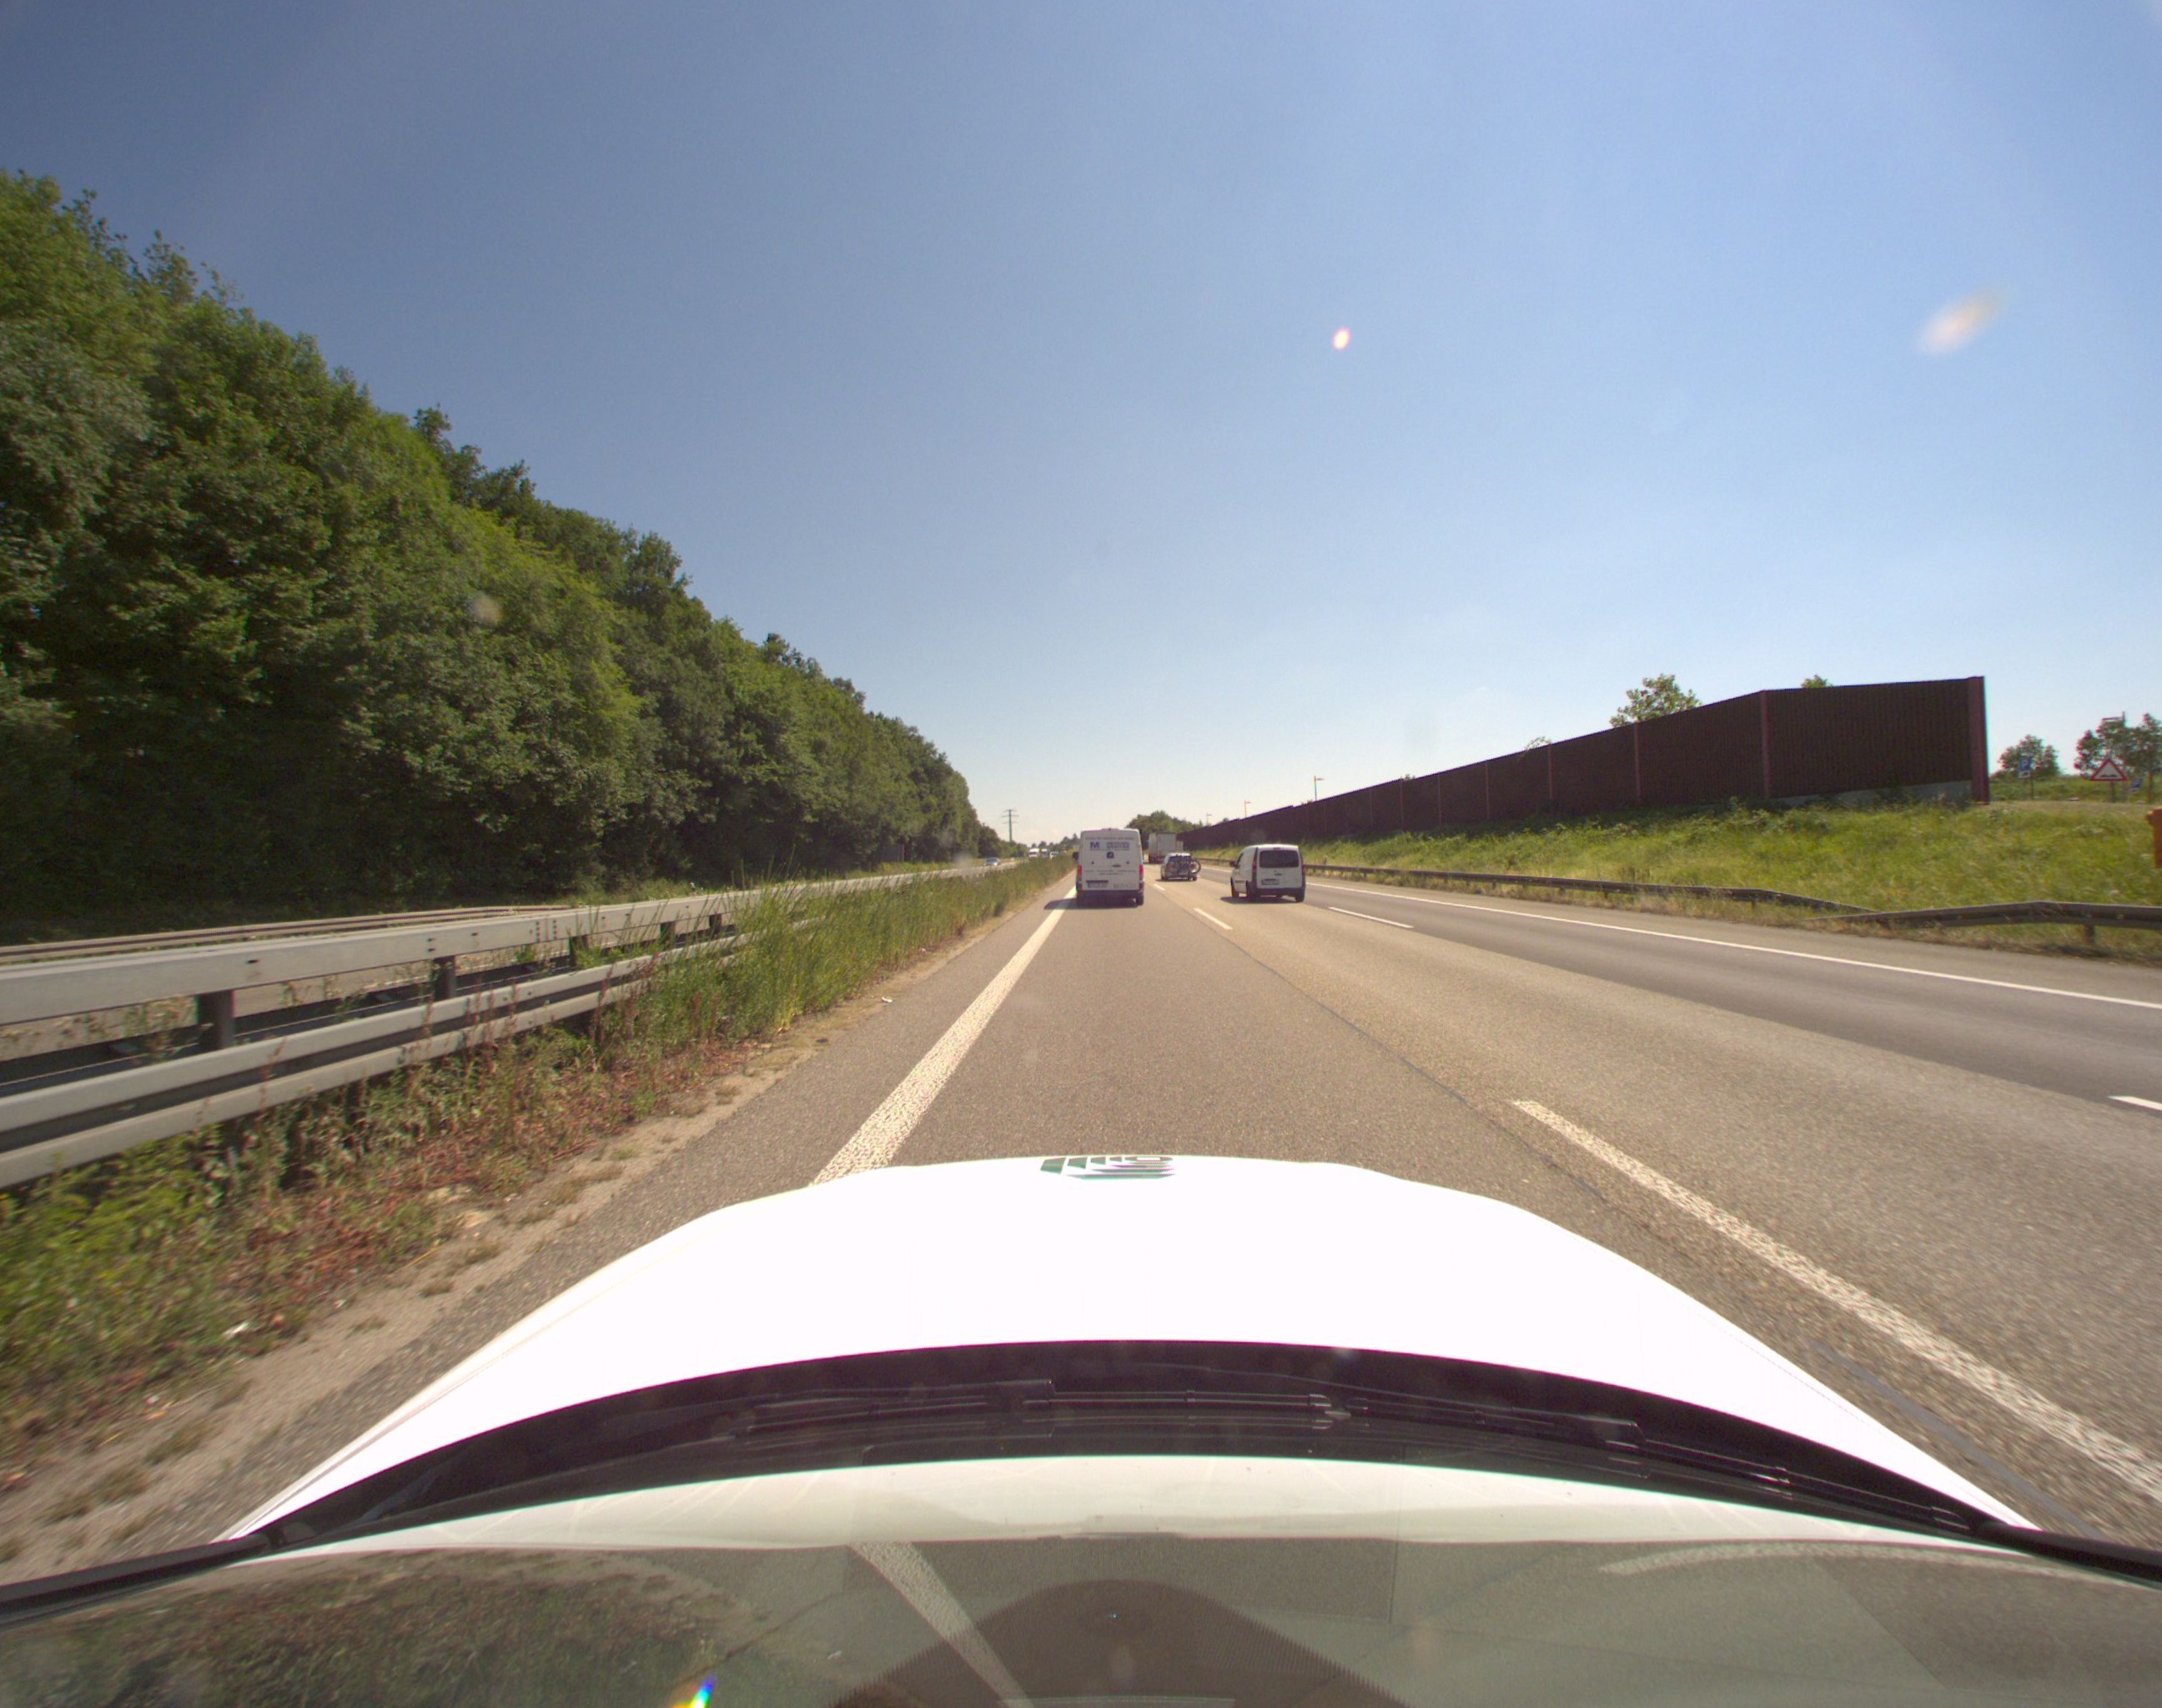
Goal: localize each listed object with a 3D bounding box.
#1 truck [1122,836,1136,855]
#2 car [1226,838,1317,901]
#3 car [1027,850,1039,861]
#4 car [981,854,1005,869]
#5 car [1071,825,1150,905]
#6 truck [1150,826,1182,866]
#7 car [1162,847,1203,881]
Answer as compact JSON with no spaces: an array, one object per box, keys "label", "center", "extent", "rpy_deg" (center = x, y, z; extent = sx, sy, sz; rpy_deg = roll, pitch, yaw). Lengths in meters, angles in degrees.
[{"label":"truck","center":[13.274,-2.195,225.204],"extent":[3.772,5.000,12.530],"rpy_deg":[0,-1,4]},{"label":"car","center":[6.079,0.486,26.500],"extent":[1.944,1.838,4.178],"rpy_deg":[-2,-1,0]},{"label":"car","center":[-10.897,0.238,185.325],"extent":[2.116,2.339,5.086],"rpy_deg":[-3,0,2]},{"label":"car","center":[-10.144,0.831,94.000],"extent":[1.986,1.519,4.723],"rpy_deg":[-3,0,2]},{"label":"car","center":[0.795,0.339,25.634],"extent":[2.176,2.254,5.360],"rpy_deg":[0,-1,-1]},{"label":"truck","center":[11.269,-0.911,109.330],"extent":[3.772,5.000,12.530],"rpy_deg":[0,-1,4]},{"label":"car","center":[5.628,0.546,45.409],"extent":[1.967,1.733,4.092],"rpy_deg":[-2,-1,3]}]
